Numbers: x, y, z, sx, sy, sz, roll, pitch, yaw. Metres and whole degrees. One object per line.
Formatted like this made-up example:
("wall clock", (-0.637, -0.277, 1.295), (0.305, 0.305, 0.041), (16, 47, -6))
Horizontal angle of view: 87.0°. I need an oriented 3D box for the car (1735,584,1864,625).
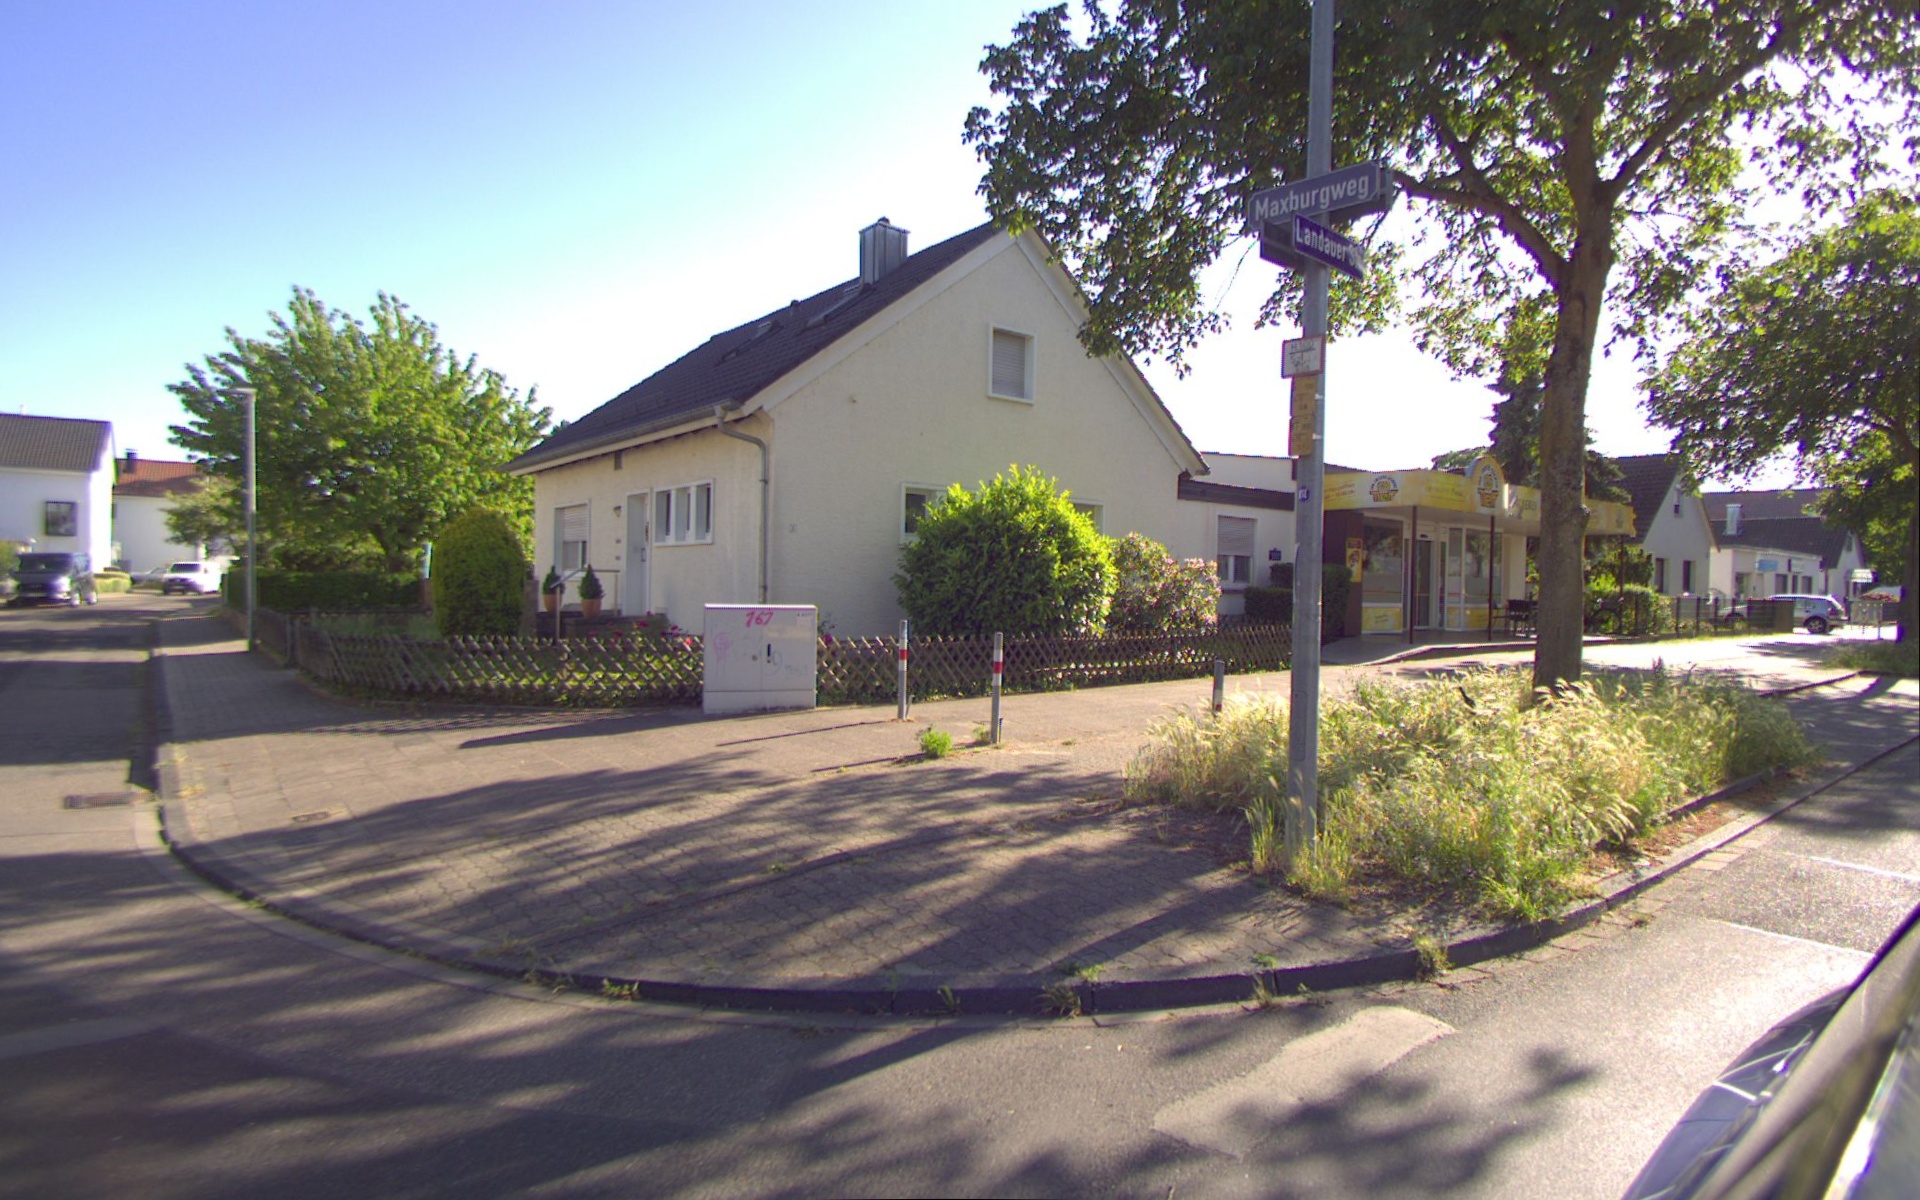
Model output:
("car", (32.776, 0.184, 39.573), (1.667, 1.458, 3.615), (-1, -2, -42))
